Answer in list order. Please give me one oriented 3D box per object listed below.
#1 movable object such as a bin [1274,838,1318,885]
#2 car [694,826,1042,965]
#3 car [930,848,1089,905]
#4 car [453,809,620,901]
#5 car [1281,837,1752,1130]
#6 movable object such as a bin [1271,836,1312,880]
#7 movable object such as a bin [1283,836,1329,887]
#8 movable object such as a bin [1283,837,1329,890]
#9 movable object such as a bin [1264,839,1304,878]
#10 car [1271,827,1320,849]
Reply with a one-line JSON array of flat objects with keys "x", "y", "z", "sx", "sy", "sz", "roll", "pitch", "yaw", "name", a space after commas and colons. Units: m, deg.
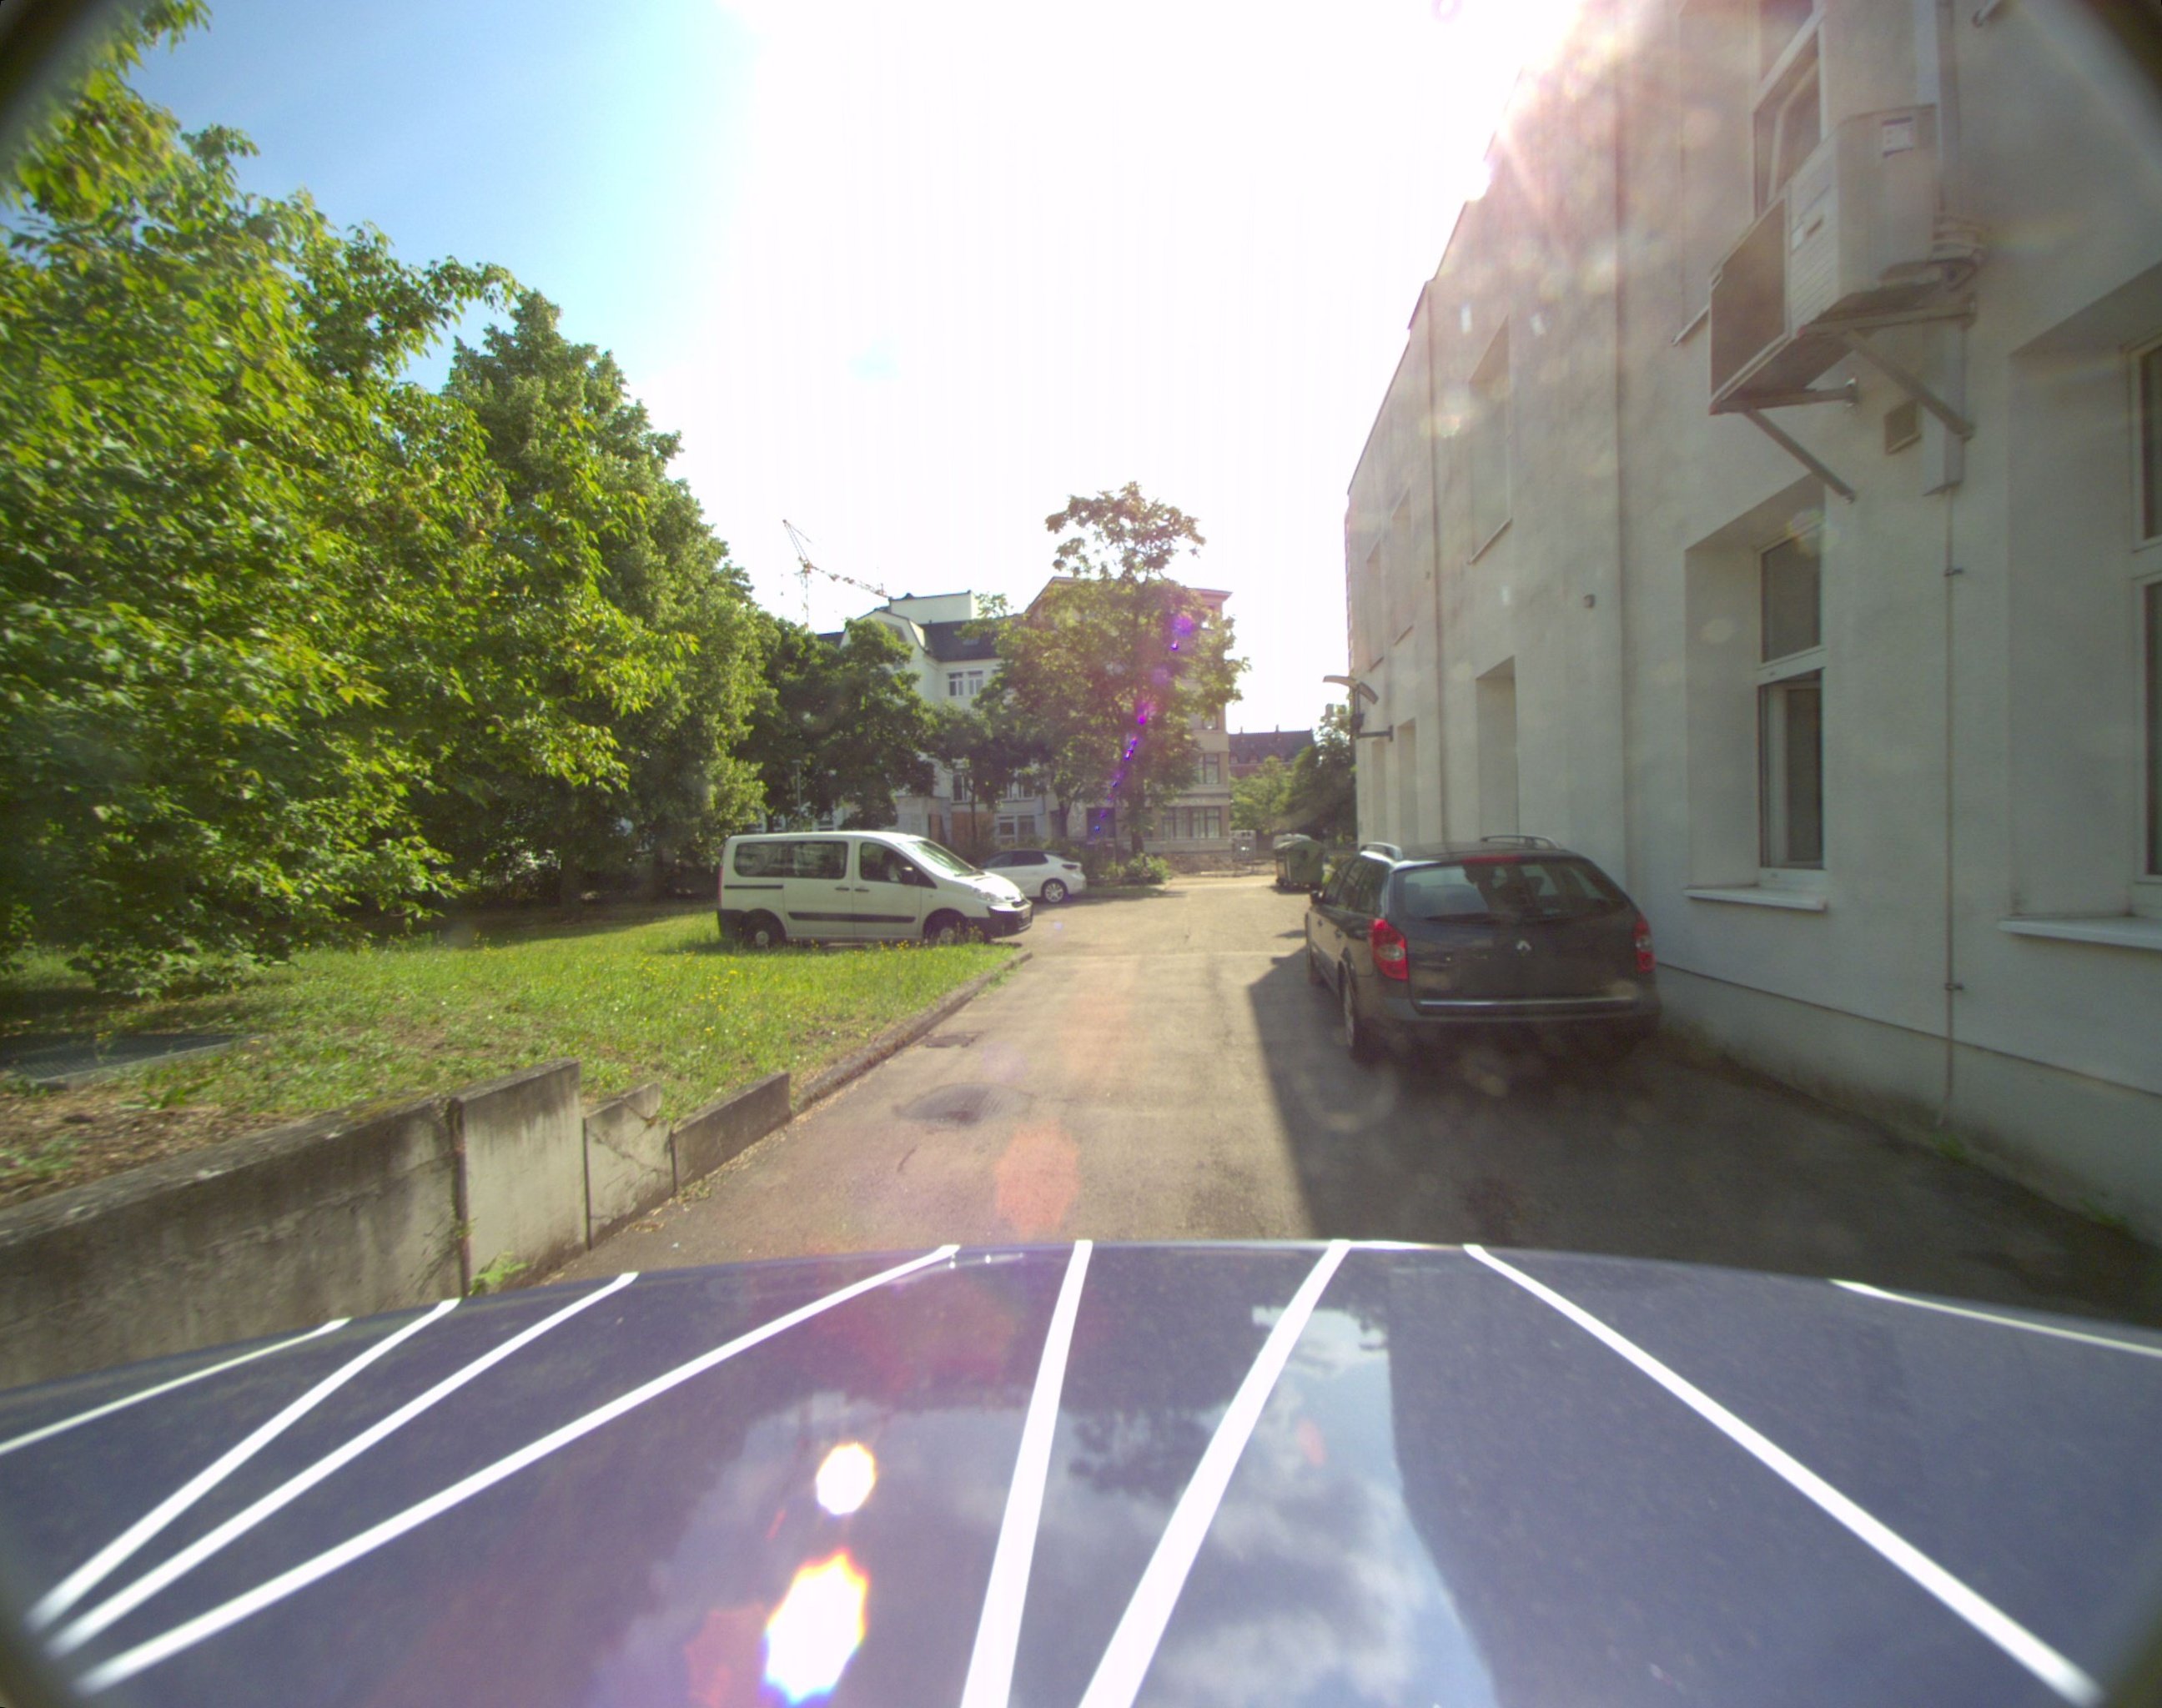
[{"x": 6.924, "y": 0.228, "z": 24.575, "sx": 1.102, "sy": 1.443, "sz": 1.234, "roll": -2, "pitch": 0, "yaw": 5, "name": "movable object such as a bin"}, {"x": -3.274, "y": 0.620, "z": 12.092, "sx": 4.947, "sy": 1.953, "sz": 2.002, "roll": 0, "pitch": -1, "yaw": 11, "name": "car"}, {"x": -1.827, "y": 0.551, "z": 20.160, "sx": 3.911, "sy": 1.412, "sz": 1.759, "roll": 0, "pitch": 1, "yaw": 6, "name": "car"}, {"x": -20.150, "y": 0.097, "z": 28.649, "sx": 2.000, "sy": 3.029, "sz": 6.972, "roll": -1, "pitch": -1, "yaw": -7, "name": "car"}, {"x": 2.817, "y": 0.644, "z": 6.132, "sx": 1.883, "sy": 1.434, "sz": 4.342, "roll": -2, "pitch": 2, "yaw": 9, "name": "car"}, {"x": 7.198, "y": 0.154, "z": 26.063, "sx": 1.101, "sy": 1.443, "sz": 1.344, "roll": -2, "pitch": -1, "yaw": 6, "name": "movable object such as a bin"}, {"x": 6.802, "y": 0.251, "z": 23.034, "sx": 1.226, "sy": 1.442, "sz": 1.284, "roll": -2, "pitch": -2, "yaw": 13, "name": "movable object such as a bin"}, {"x": 6.415, "y": 0.267, "z": 21.732, "sx": 1.101, "sy": 1.443, "sz": 1.344, "roll": -2, "pitch": 0, "yaw": 11, "name": "movable object such as a bin"}, {"x": 7.924, "y": 0.191, "z": 29.662, "sx": 1.246, "sy": 1.473, "sz": 1.299, "roll": -1, "pitch": -2, "yaw": 29, "name": "movable object such as a bin"}, {"x": 20.679, "y": -1.599, "z": 73.441, "sx": 2.001, "sy": 2.003, "sz": 5.298, "roll": 0, "pitch": 3, "yaw": -17, "name": "car"}]
